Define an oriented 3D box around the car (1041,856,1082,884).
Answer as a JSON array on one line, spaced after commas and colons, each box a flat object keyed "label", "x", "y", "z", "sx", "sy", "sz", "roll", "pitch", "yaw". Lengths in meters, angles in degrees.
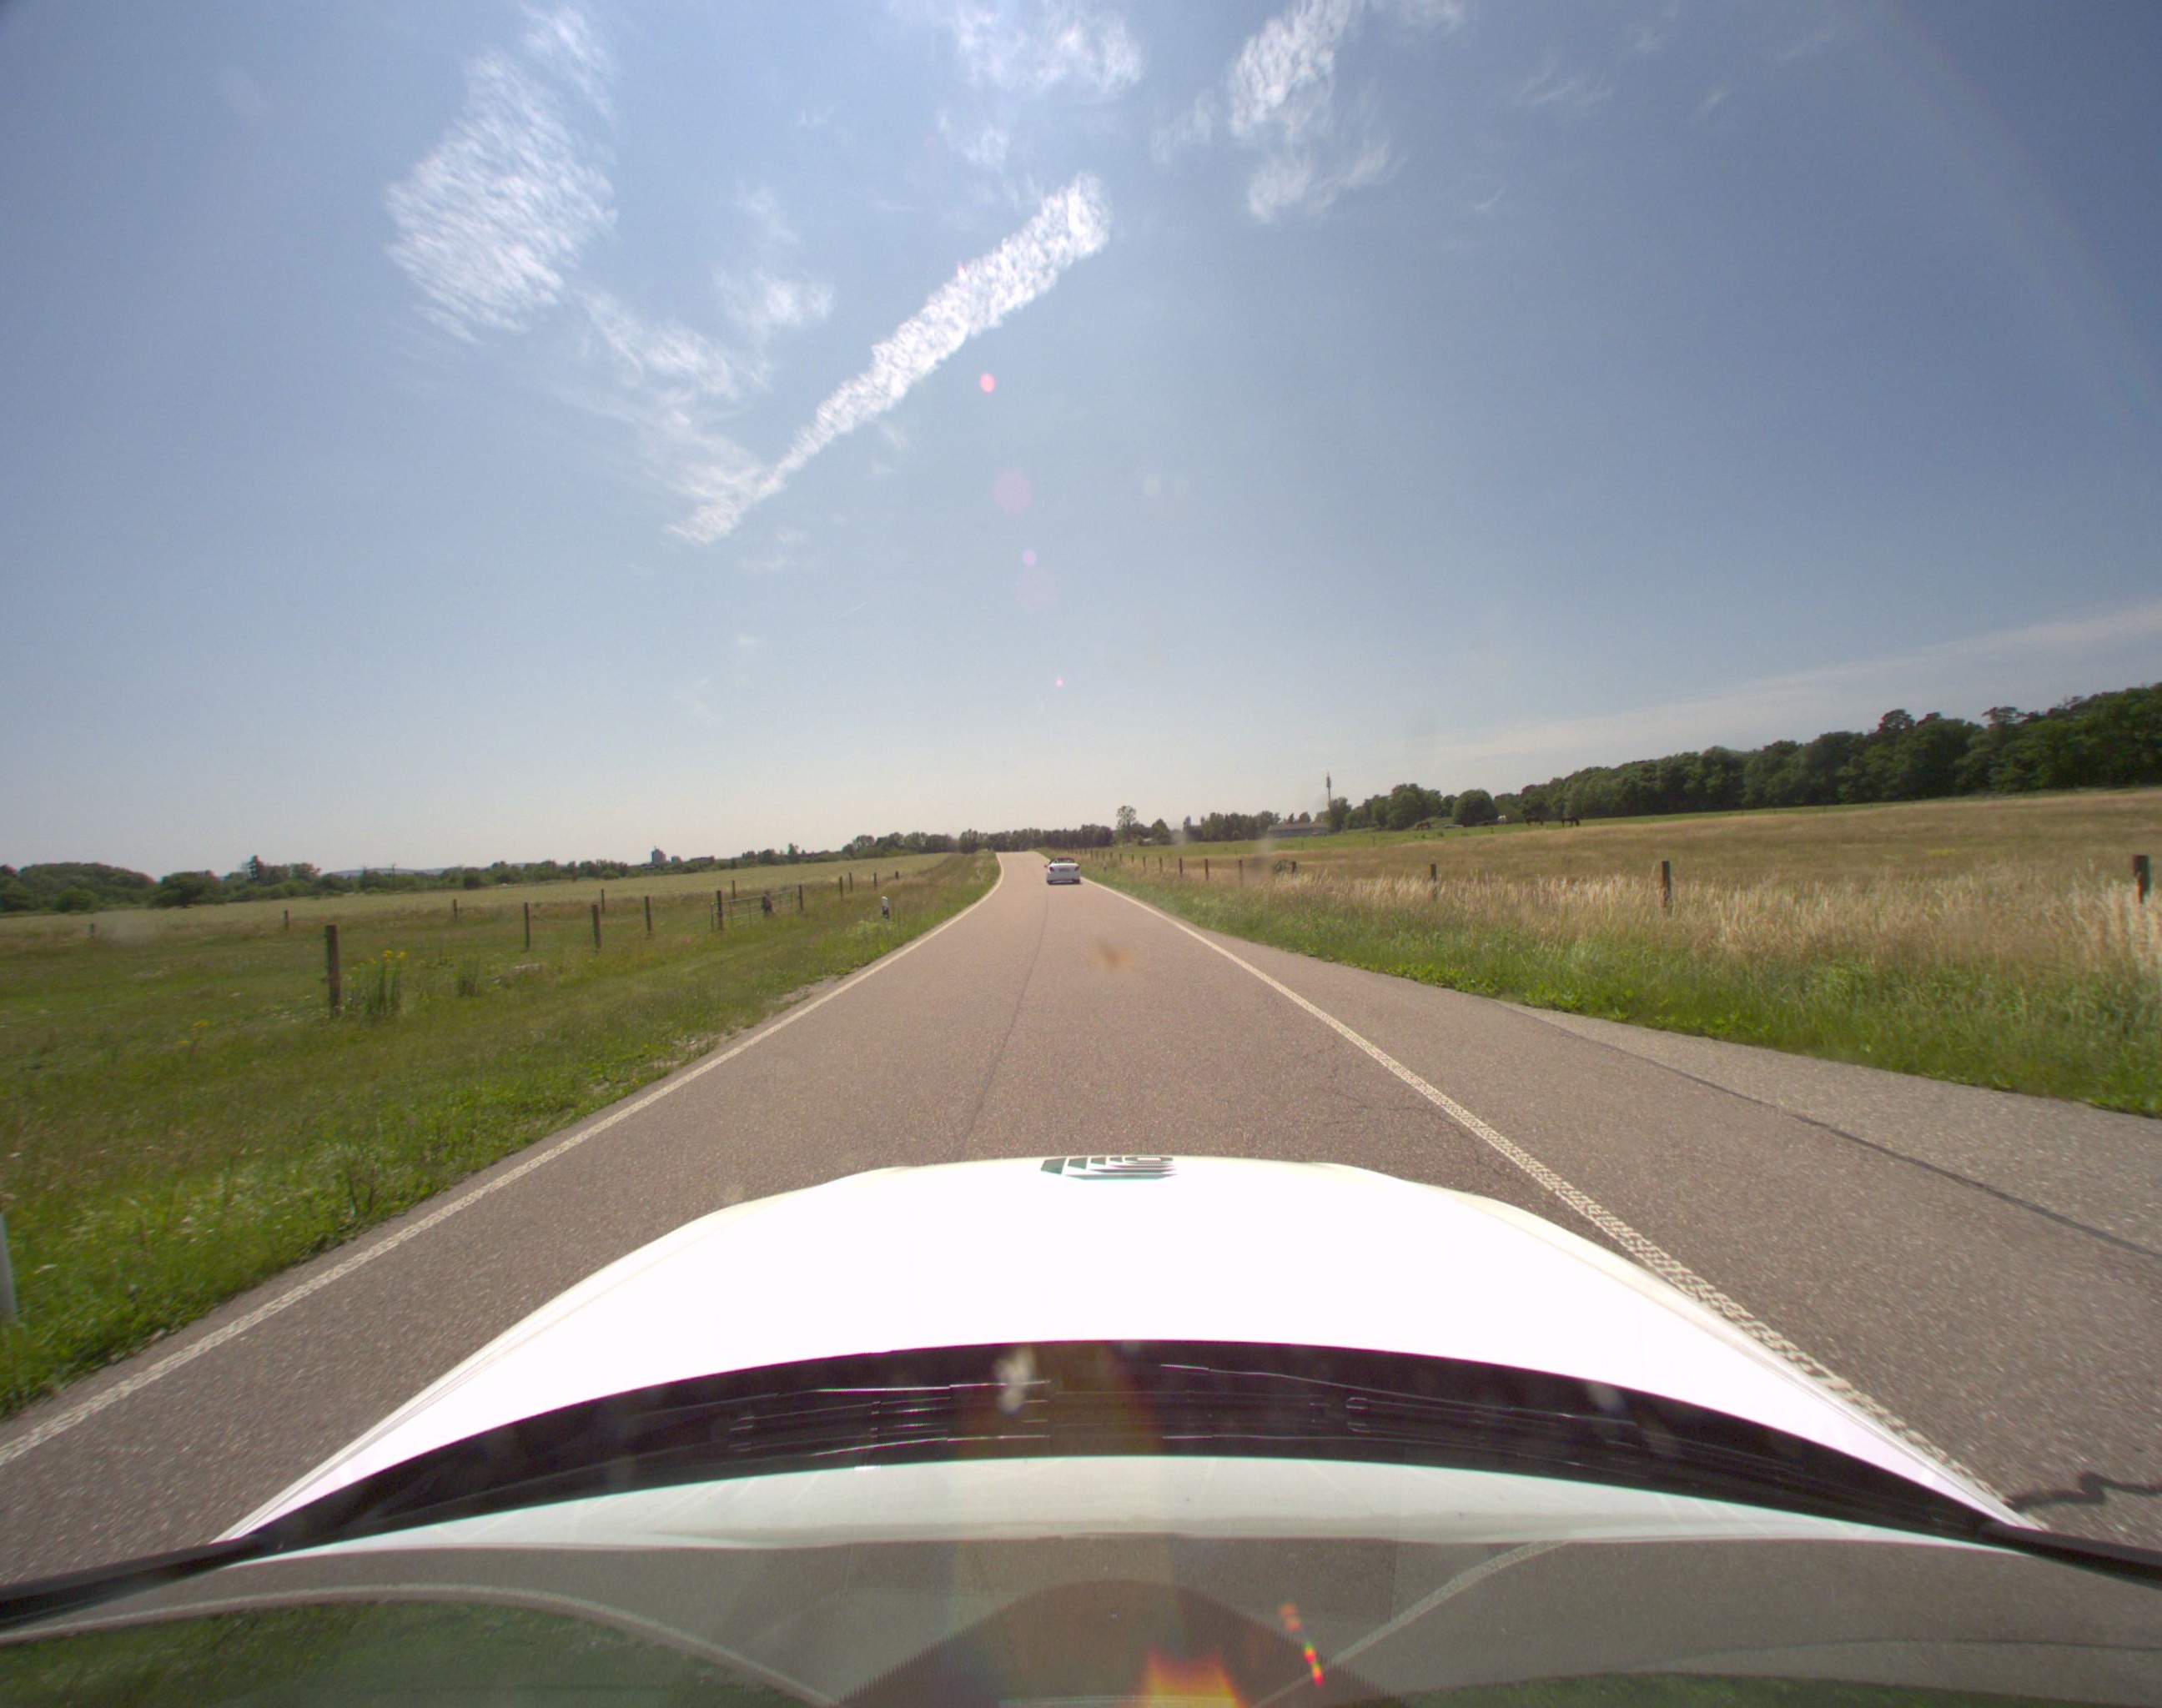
[{"label": "car", "x": -1.092, "y": 0.823, "z": 44.079, "sx": 1.849, "sy": 1.379, "sz": 3.991, "roll": -1, "pitch": 0, "yaw": -6}]
